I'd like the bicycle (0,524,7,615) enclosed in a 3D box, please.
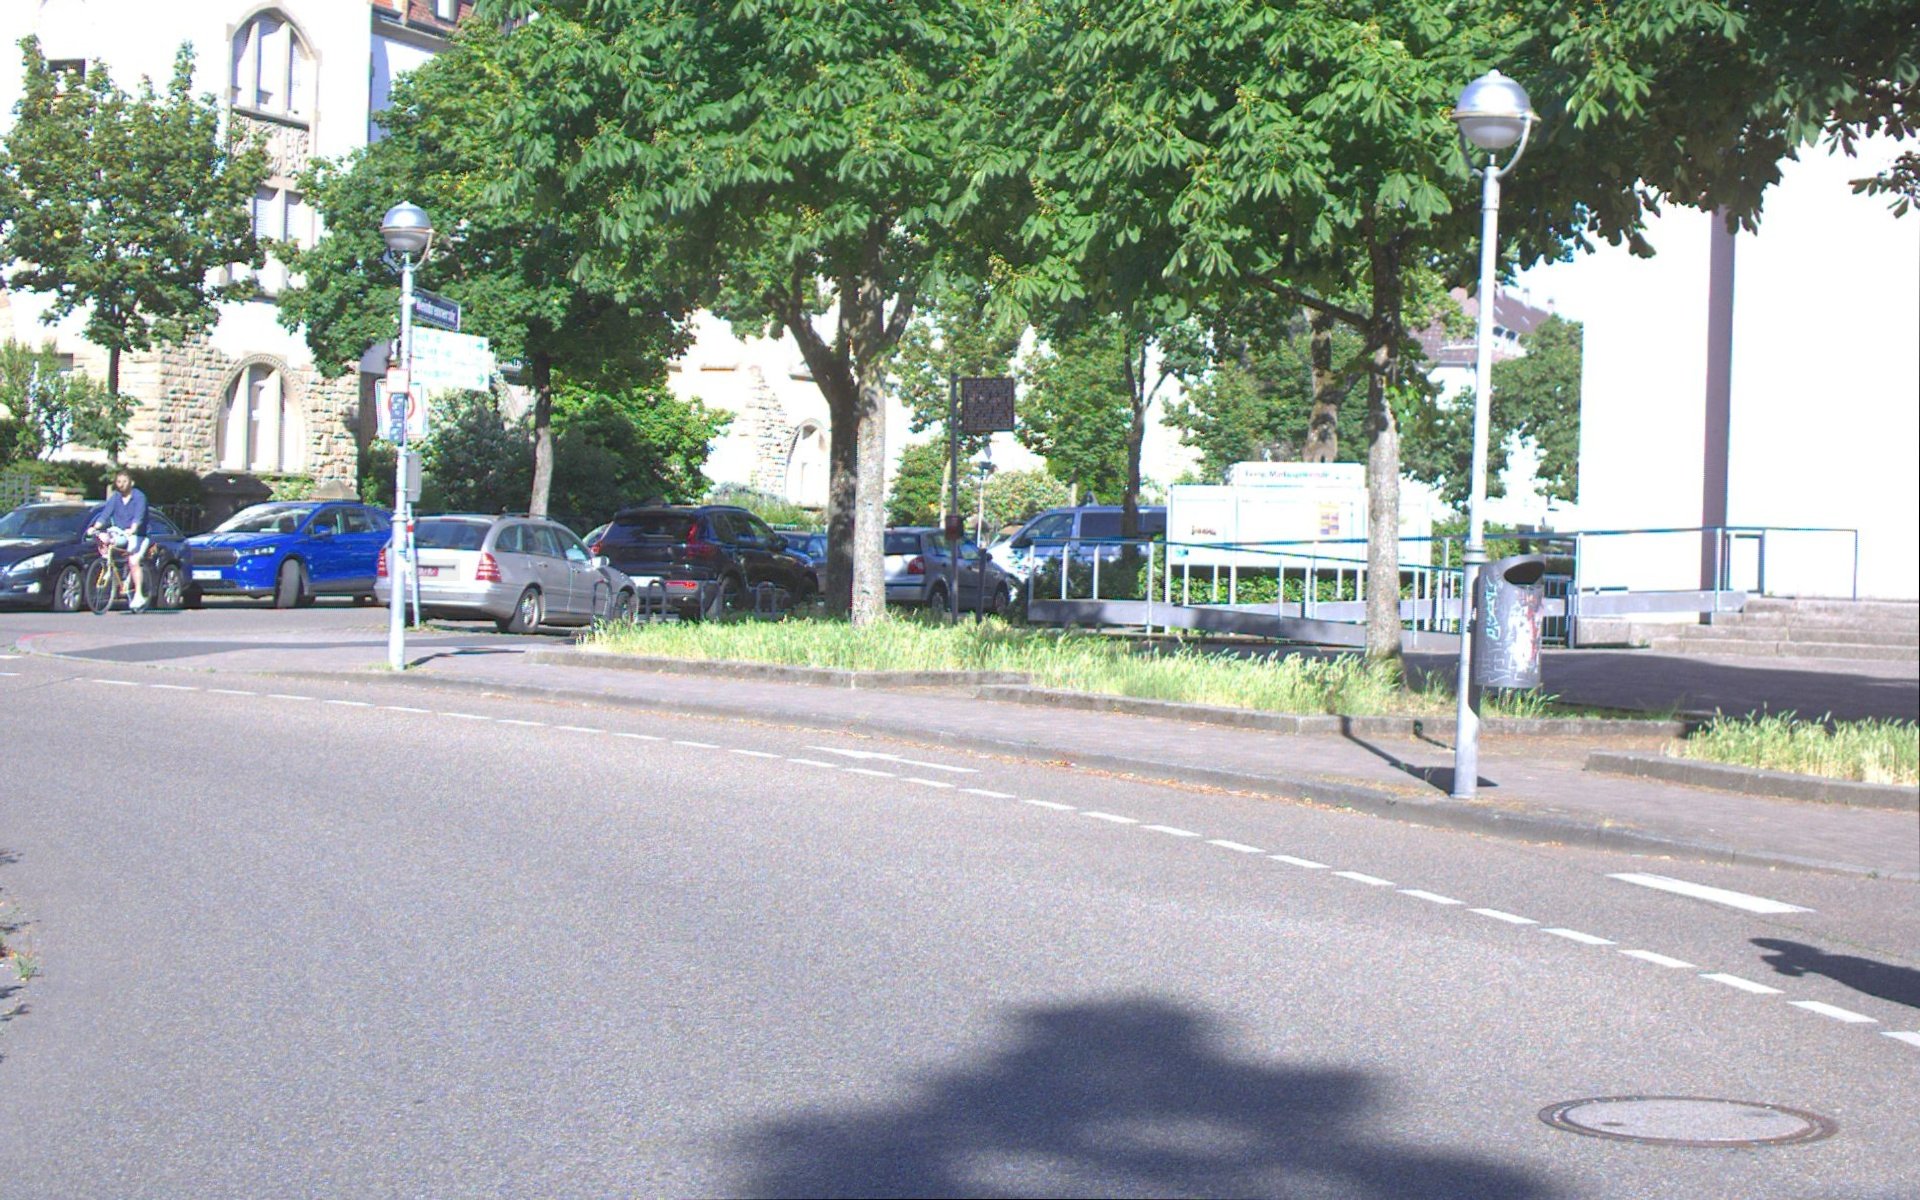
[{"bbox_3d":[-12.342,-0.372,40.958,0.595,1.104,1.859,2,1,42],"label":"bicycle"}]

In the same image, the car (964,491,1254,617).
[{"bbox_3d":[2.642,-0.819,60.813,4.768,1.994,1.808,3,1,16],"label":"car"}]

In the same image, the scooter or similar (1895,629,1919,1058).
[{"bbox_3d":[3.235,0.750,9.975,0.630,1.278,1.106,2,1,-4],"label":"scooter or similar"}]

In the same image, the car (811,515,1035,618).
[{"bbox_3d":[-0.521,-0.516,53.468,1.806,1.469,4.333,3,1,24],"label":"car"}]

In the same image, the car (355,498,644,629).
[{"bbox_3d":[-5.447,-0.446,41.247,1.805,1.411,4.335,3,1,16],"label":"car"}]

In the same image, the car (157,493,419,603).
[{"bbox_3d":[-9.922,-0.770,51.096,1.805,1.556,4.395,0,1,20],"label":"car"}]

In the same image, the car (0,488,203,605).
[{"bbox_3d":[-12.008,-0.706,46.070,1.805,1.478,4.335,0,1,15],"label":"car"}]

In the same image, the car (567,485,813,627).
[{"bbox_3d":[-3.530,-0.587,45.810,1.805,1.722,4.335,3,1,16],"label":"car"}]

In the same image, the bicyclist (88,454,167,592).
[{"bbox_3d":[-10.416,-0.959,43.030,0.644,1.708,0.722,2,1,18],"label":"bicyclist"}]

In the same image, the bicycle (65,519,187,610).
[{"bbox_3d":[-10.410,-0.439,42.956,0.644,1.104,1.715,2,1,18],"label":"bicycle"}]
